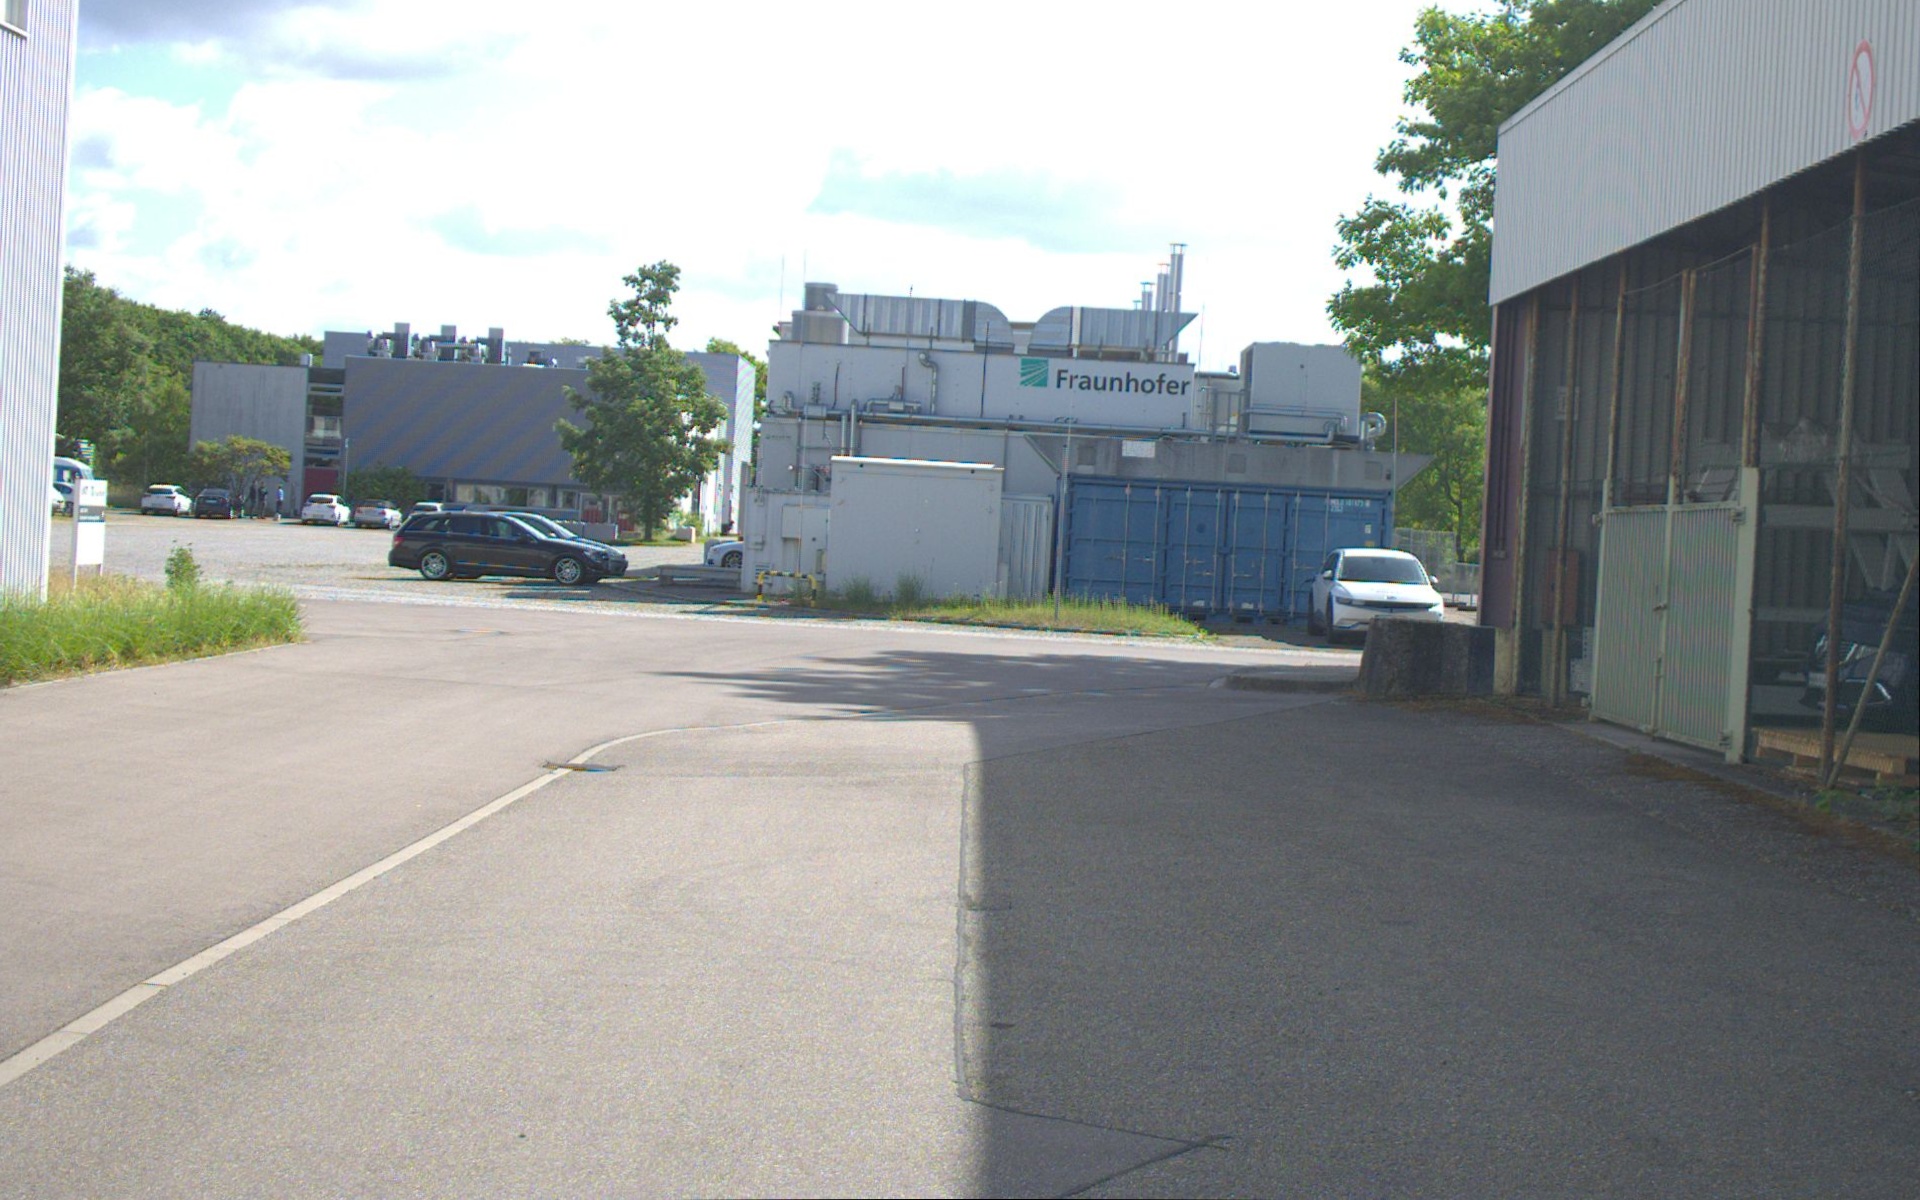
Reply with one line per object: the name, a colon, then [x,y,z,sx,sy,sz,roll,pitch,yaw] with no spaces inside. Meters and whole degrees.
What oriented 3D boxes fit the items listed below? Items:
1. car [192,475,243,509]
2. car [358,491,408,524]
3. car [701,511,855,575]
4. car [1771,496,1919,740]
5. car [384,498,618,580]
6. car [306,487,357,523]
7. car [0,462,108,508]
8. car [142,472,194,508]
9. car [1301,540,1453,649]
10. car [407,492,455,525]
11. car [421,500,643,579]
car: [-36.405,-5.277,168.592,1.877,1.532,4.036,1,1,-5]
car: [-28.286,-4.521,168.650,1.877,1.532,4.036,1,1,-2]
car: [-5.242,-1.639,99.487,4.279,1.564,1.987,3,-1,0]
car: [9.680,0.245,28.601,5.164,1.911,2.279,3,1,-5]
car: [-9.551,-1.258,71.766,4.529,1.438,1.987,3,-1,0]
car: [-30.851,-4.665,168.814,1.877,1.684,4.036,1,1,-2]
car: [-37.594,-4.774,142.261,4.110,1.625,1.807,4,1,4]
car: [-38.857,-5.407,168.723,1.846,1.663,4.134,1,1,-5]
car: [7.117,-0.126,59.084,1.981,1.588,4.341,3,2,0]
car: [-25.958,-4.465,168.859,1.877,1.532,4.036,1,1,-2]
car: [-9.313,-1.314,75.023,4.529,1.438,1.904,3,-1,0]
